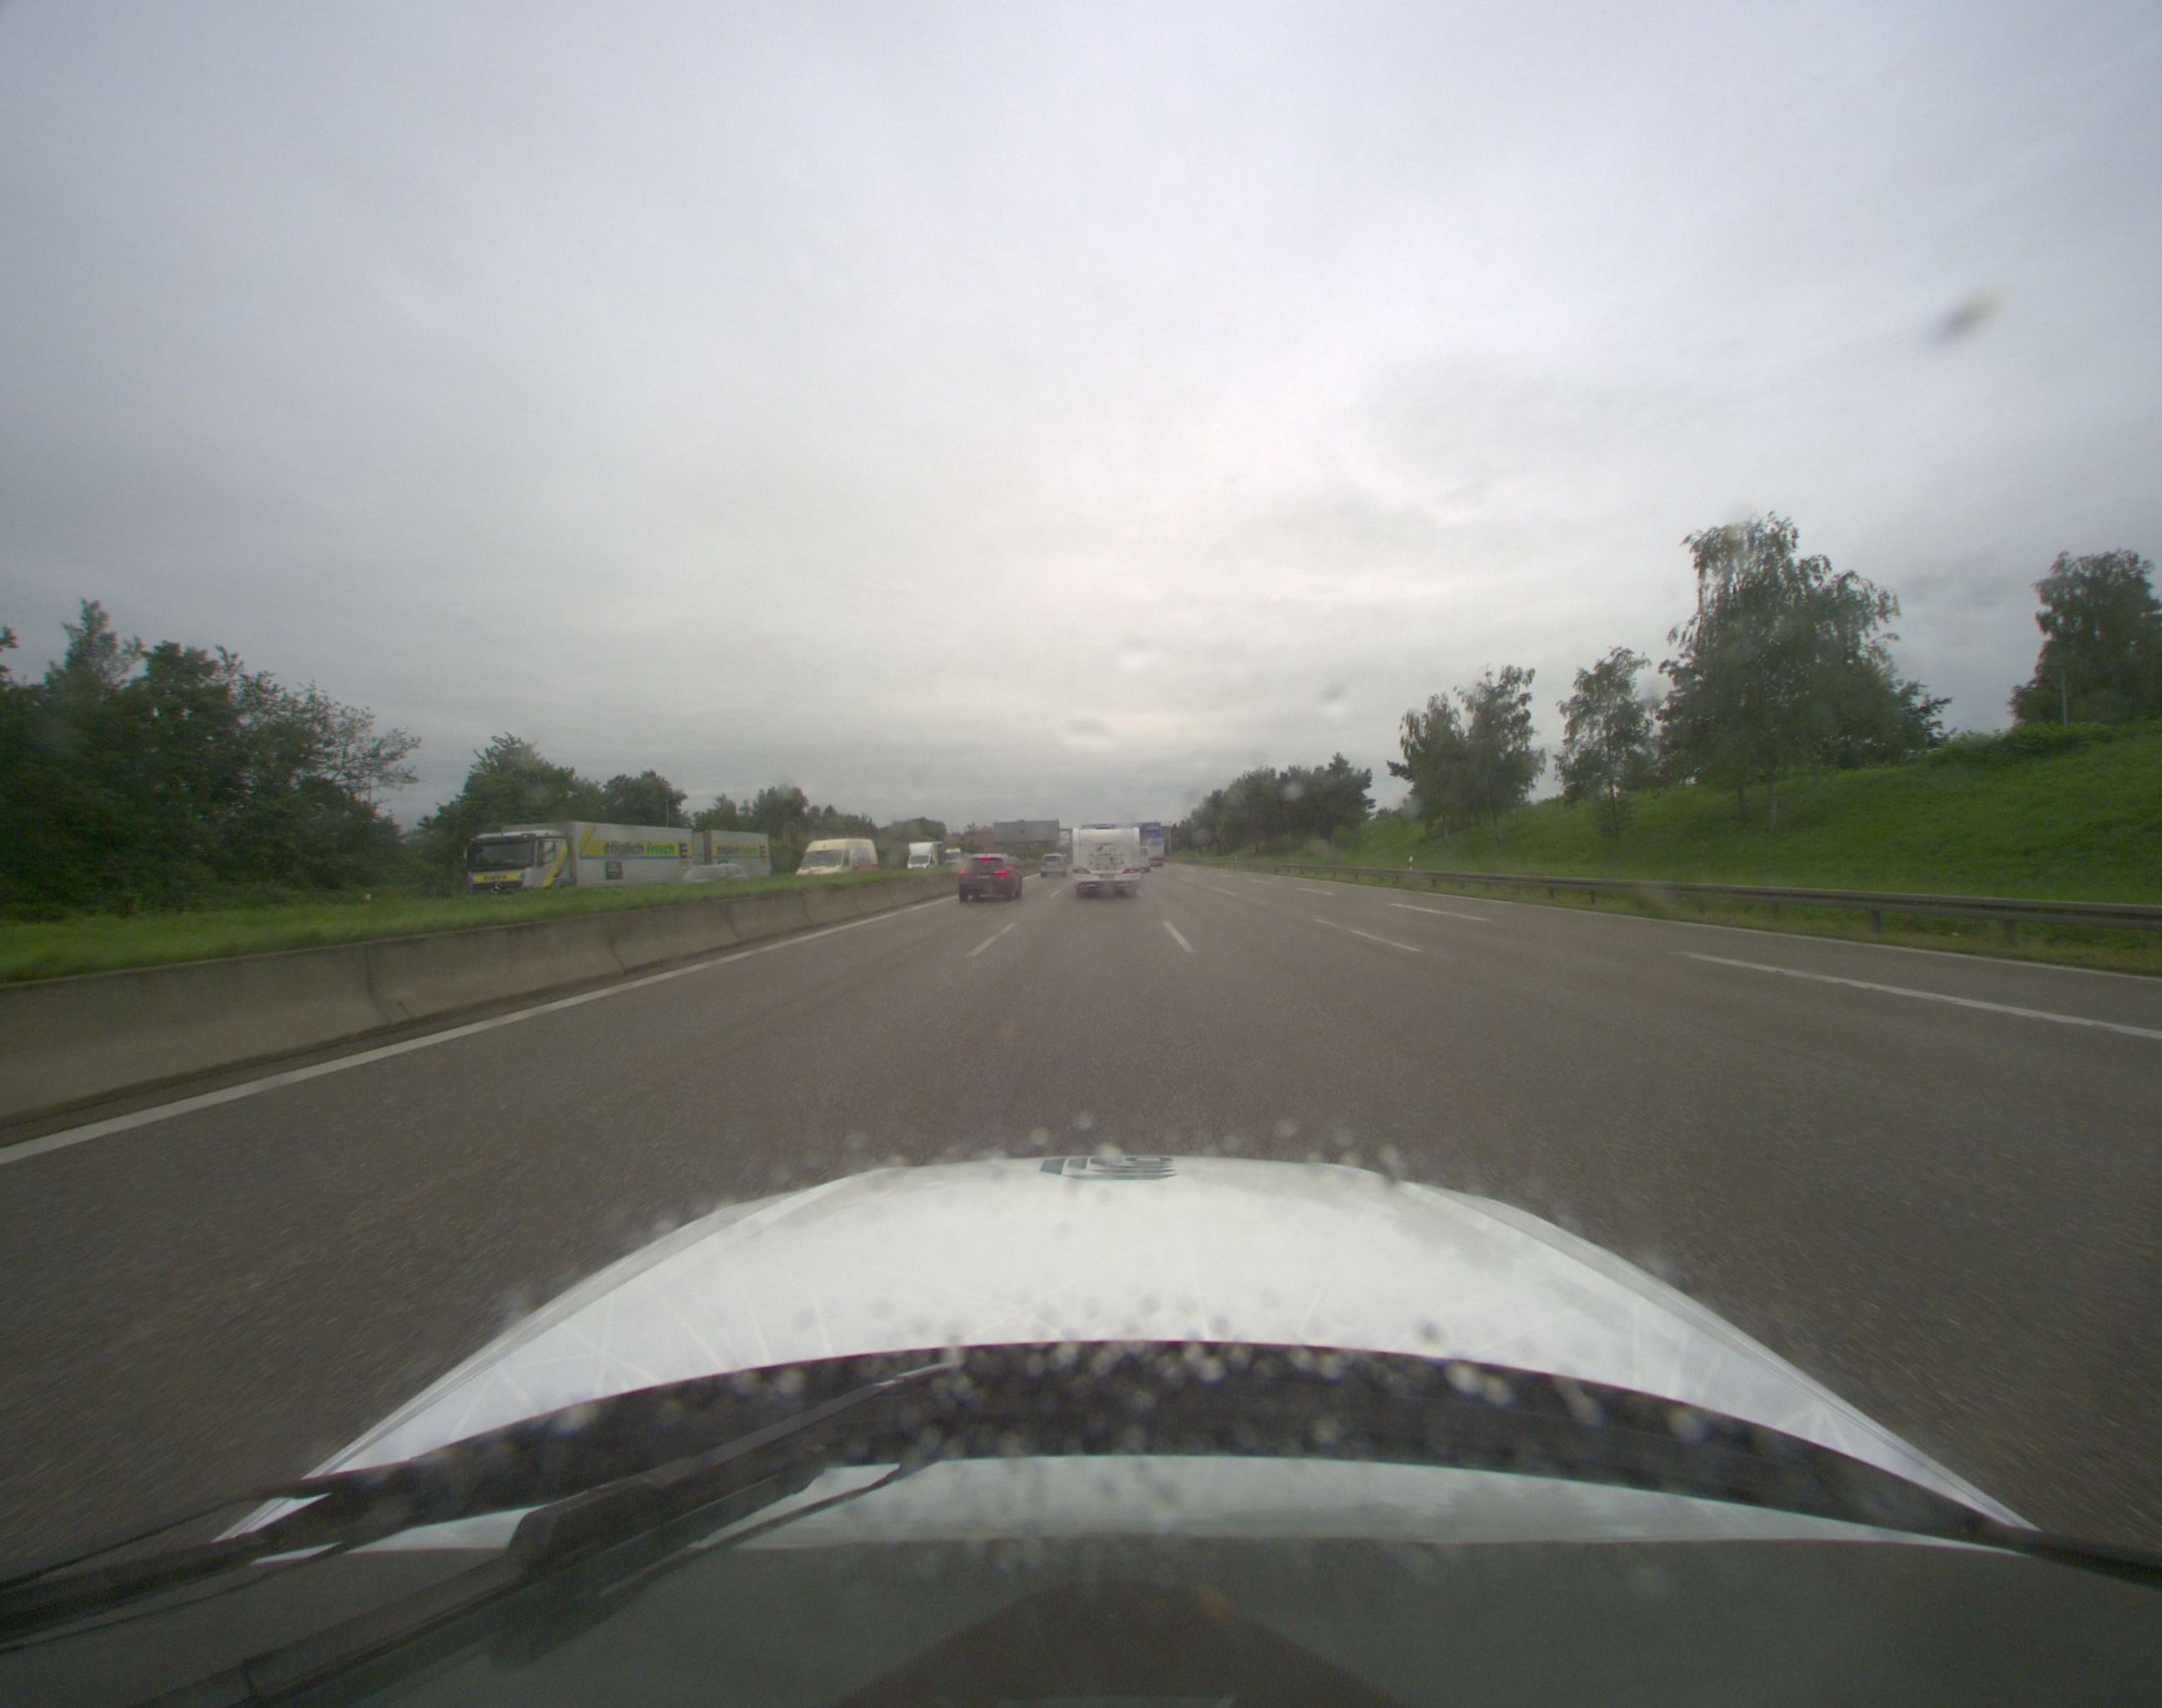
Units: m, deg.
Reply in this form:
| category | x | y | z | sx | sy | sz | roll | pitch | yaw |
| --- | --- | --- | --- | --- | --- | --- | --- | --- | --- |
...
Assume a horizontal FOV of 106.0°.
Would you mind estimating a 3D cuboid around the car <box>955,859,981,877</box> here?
| category | x | y | z | sx | sy | sz | roll | pitch | yaw |
| --- | --- | --- | --- | --- | --- | --- | --- | --- | --- |
| car | -10.767 | 1.284 | 77.852 | 1.815 | 1.662 | 4.150 | 0 | -1 | 1 |

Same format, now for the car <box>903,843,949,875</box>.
| category | x | y | z | sx | sy | sz | roll | pitch | yaw |
| --- | --- | --- | --- | --- | --- | --- | --- | --- | --- |
| car | -13.601 | 0.448 | 71.995 | 2.313 | 2.734 | 7.319 | 0 | -1 | 2 |

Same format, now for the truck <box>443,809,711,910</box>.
| category | x | y | z | sx | sy | sz | roll | pitch | yaw |
| --- | --- | --- | --- | --- | --- | --- | --- | --- | --- |
| truck | -18.664 | 0.244 | 31.660 | 2.872 | 3.221 | 11.365 | 0 | -1 | 3 |

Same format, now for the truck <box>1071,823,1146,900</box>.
| category | x | y | z | sx | sy | sz | roll | pitch | yaw |
| --- | --- | --- | --- | --- | --- | --- | --- | --- | --- |
| truck | 1.027 | 0.288 | 31.614 | 2.651 | 2.742 | 5.078 | 0 | -1 | 1 |

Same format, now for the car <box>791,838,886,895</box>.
| category | x | y | z | sx | sy | sz | roll | pitch | yaw |
| --- | --- | --- | --- | --- | --- | --- | --- | --- | --- |
| car | -11.115 | 0.550 | 38.005 | 2.051 | 2.385 | 7.325 | 0 | -1 | 1 |

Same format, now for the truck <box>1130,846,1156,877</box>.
| category | x | y | z | sx | sy | sz | roll | pitch | yaw |
| --- | --- | --- | --- | --- | --- | --- | --- | --- | --- |
| truck | 5.750 | 0.733 | 75.940 | 2.046 | 2.770 | 5.550 | 0 | -1 | 1 |

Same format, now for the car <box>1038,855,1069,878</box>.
| category | x | y | z | sx | sy | sz | roll | pitch | yaw |
| --- | --- | --- | --- | --- | --- | --- | --- | --- | --- |
| car | -2.089 | 0.943 | 62.269 | 2.120 | 1.706 | 4.113 | 0 | 0 | 1 |

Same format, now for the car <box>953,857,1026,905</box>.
| category | x | y | z | sx | sy | sz | roll | pitch | yaw |
| --- | --- | --- | --- | --- | --- | --- | --- | --- | --- |
| car | -3.242 | 0.929 | 29.853 | 1.986 | 1.600 | 5.124 | 0 | -1 | 1 |

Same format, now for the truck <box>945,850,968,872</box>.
| category | x | y | z | sx | sy | sz | roll | pitch | yaw |
| --- | --- | --- | --- | --- | --- | --- | --- | --- | --- |
| truck | -19.459 | 1.135 | 127.563 | 2.307 | 3.273 | 6.585 | 0 | -1 | 2 |

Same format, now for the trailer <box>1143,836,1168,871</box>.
| category | x | y | z | sx | sy | sz | roll | pitch | yaw |
| --- | --- | --- | --- | --- | --- | --- | --- | --- | --- |
| trailer | 10.639 | -0.013 | 117.890 | 3.087 | 4.922 | 11.797 | 0 | -1 | 3 |

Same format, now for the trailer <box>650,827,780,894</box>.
| category | x | y | z | sx | sy | sz | roll | pitch | yaw |
| --- | --- | --- | --- | --- | --- | --- | --- | --- | --- |
| trailer | -18.253 | 0.344 | 41.335 | 2.766 | 3.077 | 7.877 | 0 | -1 | 2 |
